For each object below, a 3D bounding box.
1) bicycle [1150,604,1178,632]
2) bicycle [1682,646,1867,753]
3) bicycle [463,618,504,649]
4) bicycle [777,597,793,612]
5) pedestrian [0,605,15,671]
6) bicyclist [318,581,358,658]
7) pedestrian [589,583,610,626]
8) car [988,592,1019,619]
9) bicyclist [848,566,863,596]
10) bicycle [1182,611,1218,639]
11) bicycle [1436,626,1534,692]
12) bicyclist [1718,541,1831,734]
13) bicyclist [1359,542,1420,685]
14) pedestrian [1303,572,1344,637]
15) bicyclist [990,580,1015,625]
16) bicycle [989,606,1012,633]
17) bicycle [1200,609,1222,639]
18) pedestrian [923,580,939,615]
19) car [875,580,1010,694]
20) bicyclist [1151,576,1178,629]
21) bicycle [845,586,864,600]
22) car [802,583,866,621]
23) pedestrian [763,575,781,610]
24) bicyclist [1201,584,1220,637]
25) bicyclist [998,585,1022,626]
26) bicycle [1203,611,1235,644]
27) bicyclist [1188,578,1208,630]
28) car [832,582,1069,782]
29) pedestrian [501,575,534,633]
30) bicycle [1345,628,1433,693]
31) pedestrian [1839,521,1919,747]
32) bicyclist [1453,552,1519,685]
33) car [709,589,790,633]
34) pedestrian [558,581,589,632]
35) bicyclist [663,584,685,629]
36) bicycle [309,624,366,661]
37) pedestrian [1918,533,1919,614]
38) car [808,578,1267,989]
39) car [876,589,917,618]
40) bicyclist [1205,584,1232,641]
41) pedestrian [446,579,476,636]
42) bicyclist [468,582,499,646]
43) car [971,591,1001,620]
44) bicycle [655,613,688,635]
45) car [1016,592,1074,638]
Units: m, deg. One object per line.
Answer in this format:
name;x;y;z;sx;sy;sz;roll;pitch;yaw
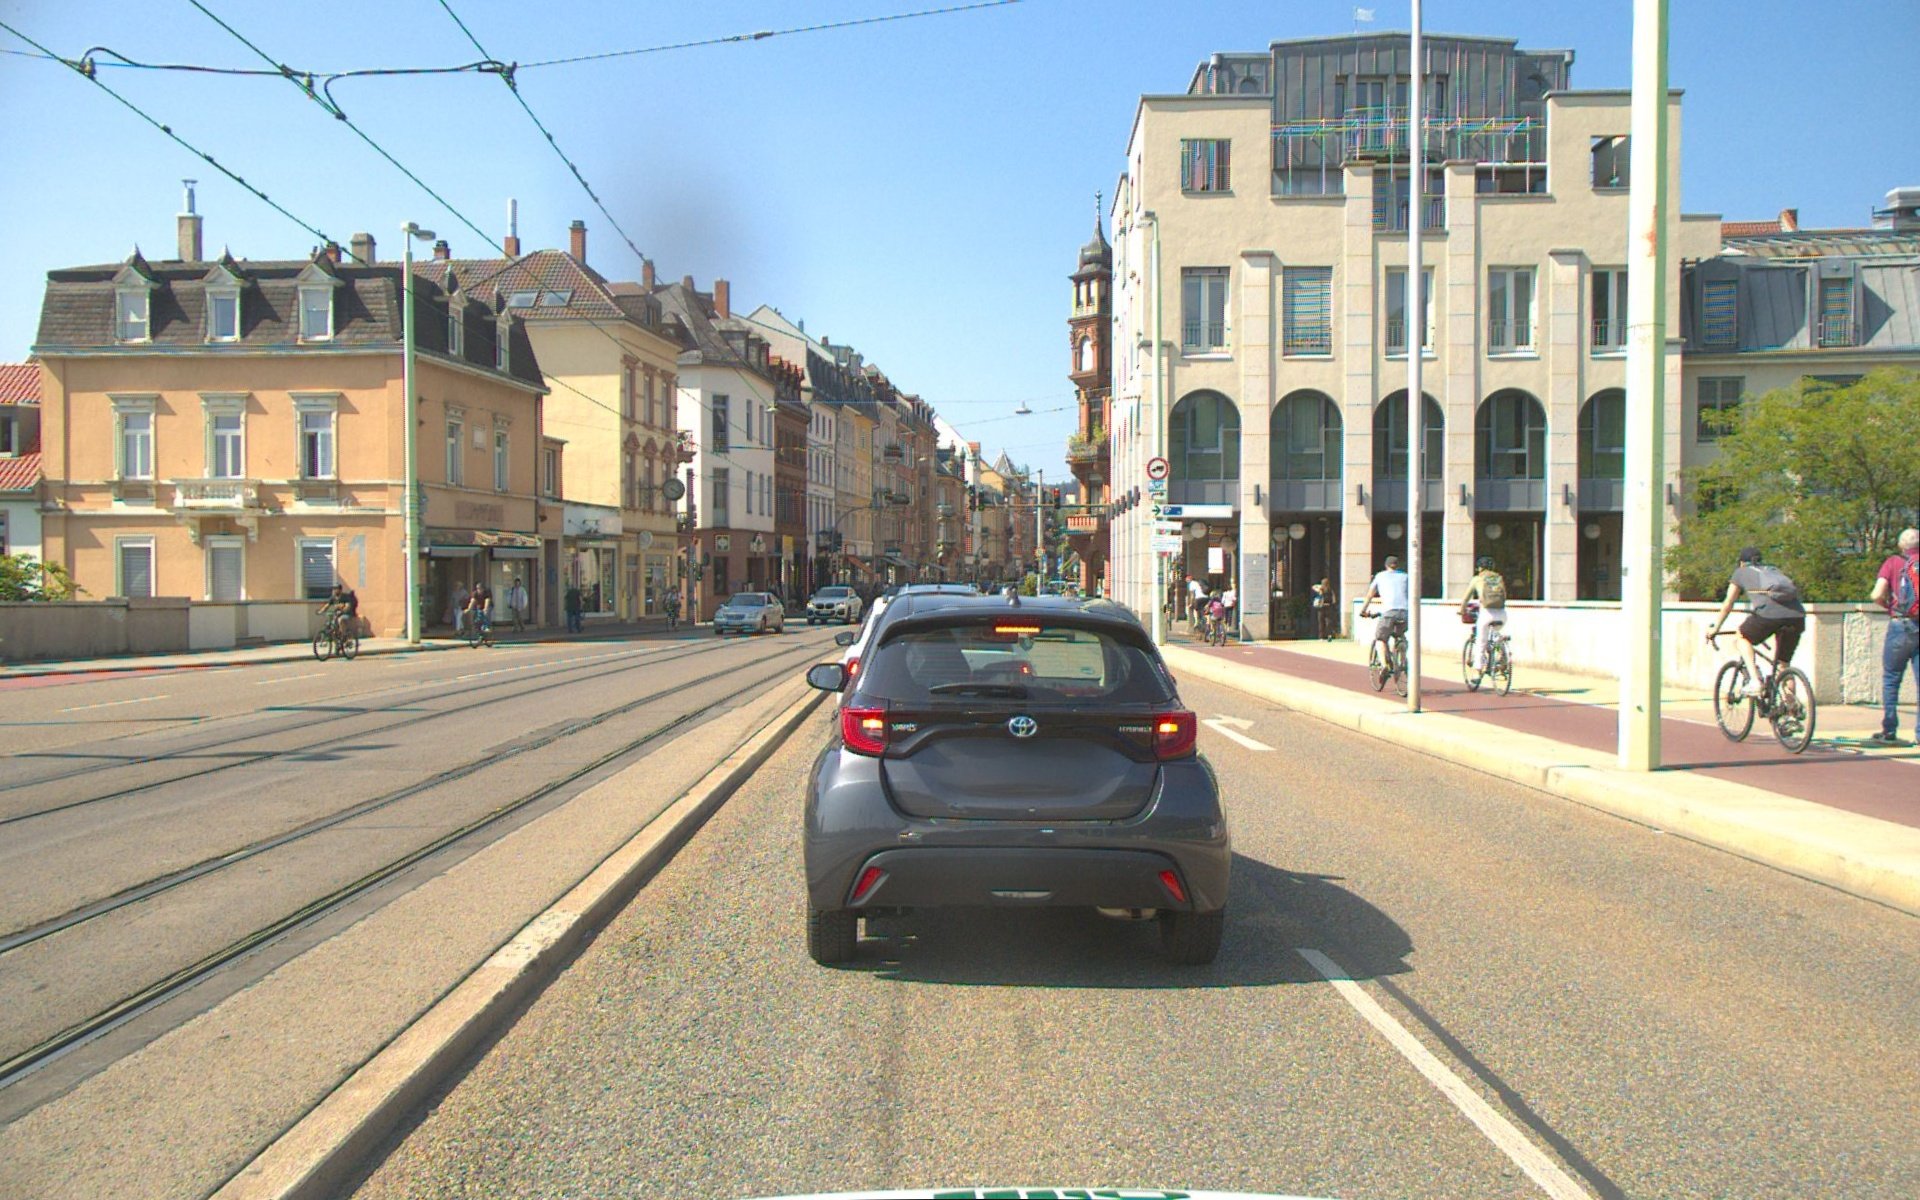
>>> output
bicycle;6.983;0.608;56.663;0.690;0.898;1.525;4;0;0
bicycle;6.923;0.823;14.163;0.582;0.779;1.830;-1;0;-3
bicycle;-12.913;0.900;44.835;0.608;0.728;1.731;2;1;-1
bicycle;-9.276;0.228;87.821;0.608;0.728;1.770;4;0;-1
pedestrian;-17.390;0.678;29.716;0.403;1.166;0.545;4;0;8
bicyclist;-13.921;0.432;37.025;0.614;1.679;0.622;2;1;-1
pedestrian;-14.159;0.185;64.972;0.636;1.629;0.566;4;2;-1
car;3.516;0.441;133.542;1.952;2.048;4.003;4;0;7
bicyclist;-5.881;-1.071;92.785;0.690;1.679;0.622;2;1;8
bicycle;6.920;0.728;47.769;0.939;0.779;0.418;-2;0;22
bicycle;6.804;0.750;21.516;0.582;0.779;1.865;-1;0;-3
bicyclist;6.922;0.310;14.082;0.575;1.586;0.701;-1;0;-3
bicyclist;5.681;0.176;21.901;0.575;1.852;0.701;-1;0;-3
pedestrian;9.559;0.114;43.470;0.724;1.642;1.015;4;0;-1
bicyclist;2.528;0.141;97.996;1.202;2.572;1.105;4;0;5
bicycle;2.406;1.146;98.073;1.089;1.444;3.009;4;0;4
bicycle;6.844;0.648;45.142;0.408;0.779;0.961;-2;0;-1
pedestrian;-2.259;-0.168;128.361;1.029;2.633;1.501;4;0;-1
car;-0.287;0.504;25.060;1.859;1.557;3.999;1;0;-1
bicyclist;7.006;0.085;56.670;0.687;1.724;0.924;4;0;-1
bicycle;-5.902;-0.401;92.768;0.607;0.728;2.047;2;1;8
car;-5.540;0.094;73.343;1.951;1.614;4.656;0;0;7
pedestrian;-9.963;-0.381;87.702;0.721;1.796;0.787;4;0;-1
bicyclist;6.828;0.282;45.132;0.413;1.407;0.443;-2;0;-1
bicyclist;3.242;0.377;106.843;1.202;2.572;1.106;4;0;10
bicycle;6.583;0.693;42.037;0.503;0.779;1.660;-2;0;-1
bicyclist;6.875;0.107;47.769;0.433;1.492;0.485;-2;0;21
car;-0.118;0.639;15.147;1.859;1.557;3.999;1;0;-1
pedestrian;-14.367;0.130;53.739;0.721;1.796;0.787;4;0;-1
bicycle;5.682;0.790;22.000;0.582;0.779;1.865;-1;0;-3
pedestrian;8.073;0.262;13.942;0.724;1.833;1.015;-2;0;-1
bicyclist;6.803;0.233;21.400;0.575;1.679;0.701;-1;0;-3
car;-7.284;0.358;57.636;1.694;1.486;4.377;0;0;9
pedestrian;-13.209;0.233;56.536;0.746;1.682;0.712;4;0;6
bicyclist;-10.851;0.229;62.768;0.614;1.679;0.622;2;1;8
bicycle;-13.932;0.935;37.063;0.608;0.728;1.771;2;1;-1
pedestrian;8.003;0.334;12.597;0.739;1.748;1.073;-2;0;-1
car;0.253;0.675;7.995;1.685;1.499;3.657;1;0;-1
car;-3.525;0.195;92.566;1.756;1.572;3.923;0;0;6
bicyclist;6.566;0.307;42.032;0.523;1.407;0.669;-2;0;-1
pedestrian;-14.952;0.221;49.538;0.636;1.629;0.566;4;2;-1
bicyclist;-12.897;0.369;44.757;0.614;1.679;0.622;2;1;-1
car;1.902;0.403;119.122;1.952;2.049;4.001;1;-1;3
bicycle;-10.902;0.901;62.584;0.607;0.728;2.047;2;1;8
car;2.925;0.481;57.637;1.671;1.491;4.325;1;0;-1
